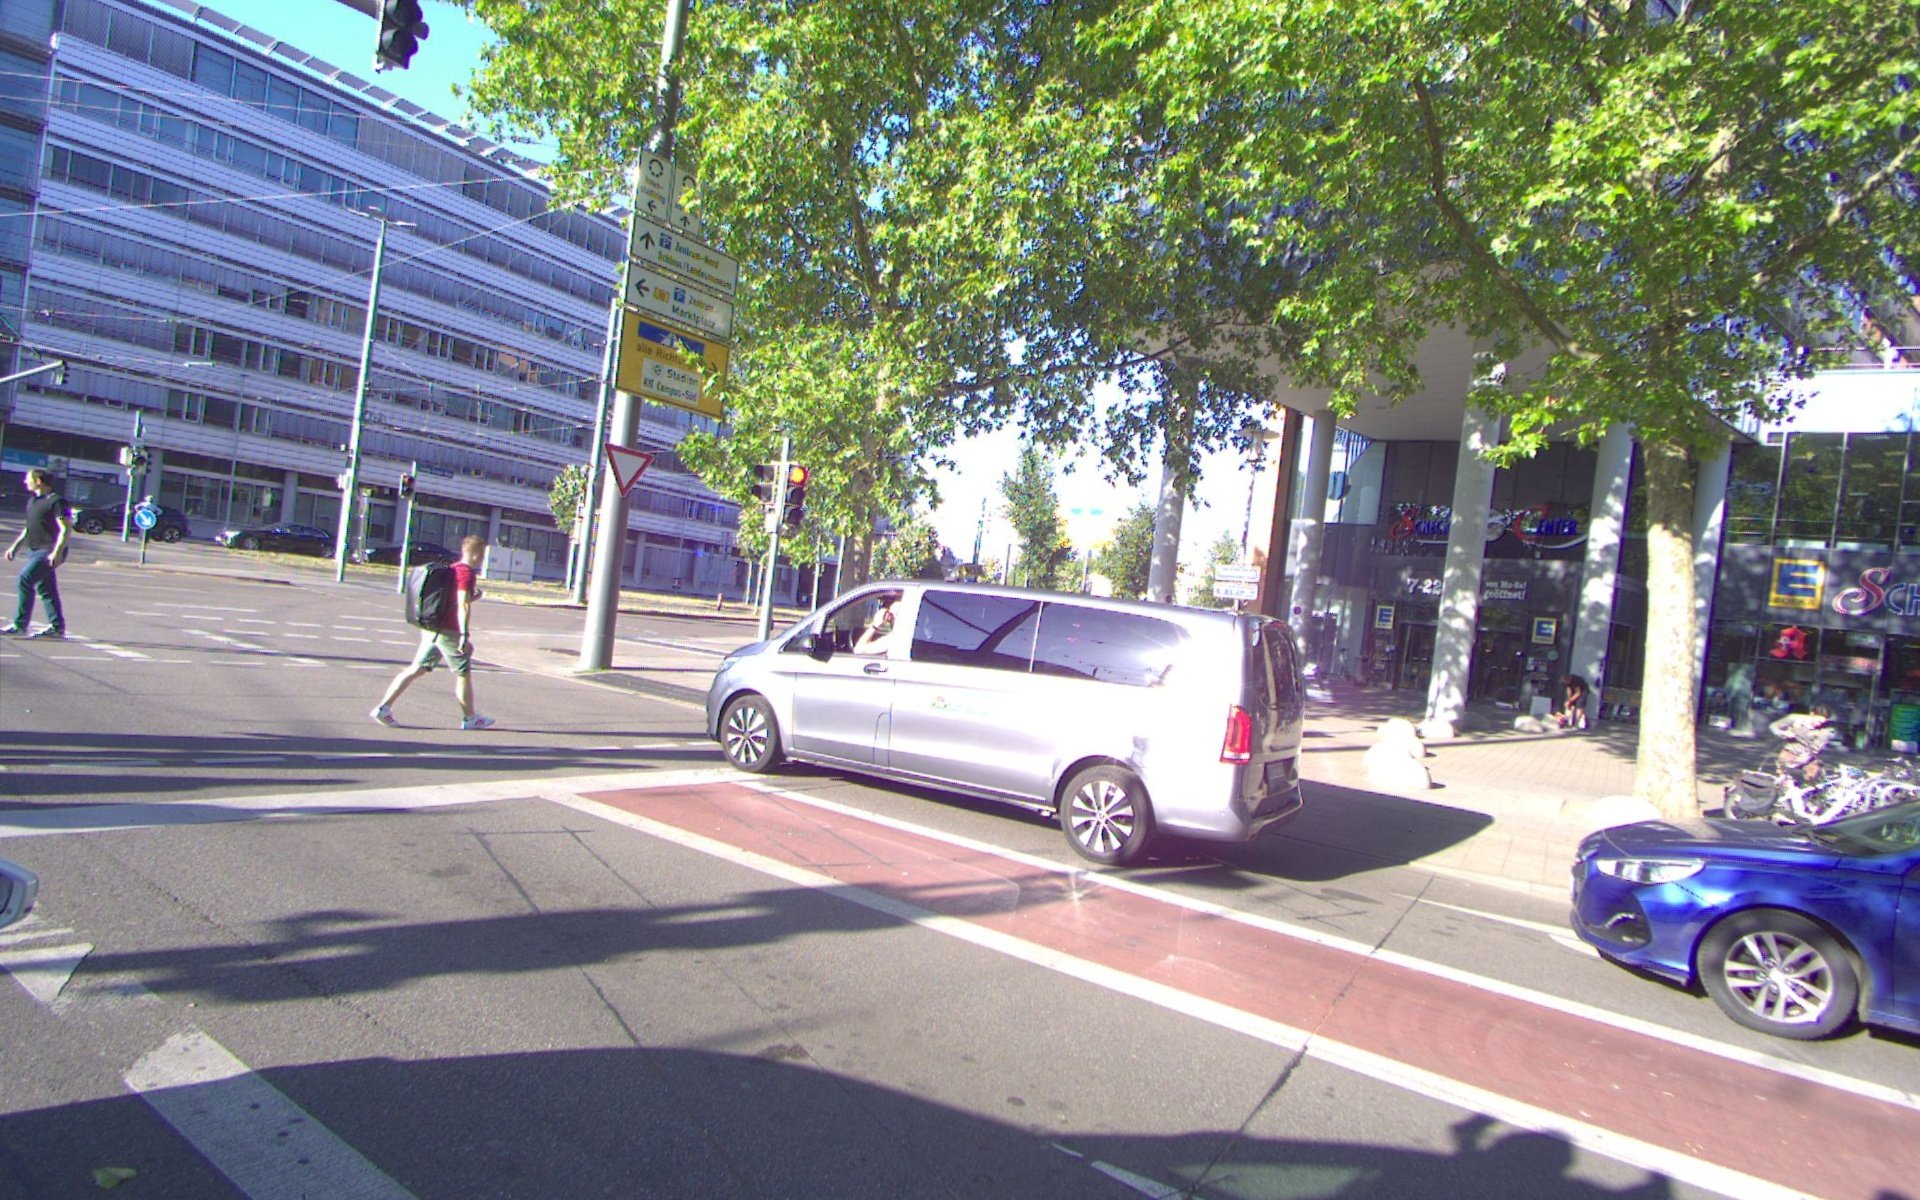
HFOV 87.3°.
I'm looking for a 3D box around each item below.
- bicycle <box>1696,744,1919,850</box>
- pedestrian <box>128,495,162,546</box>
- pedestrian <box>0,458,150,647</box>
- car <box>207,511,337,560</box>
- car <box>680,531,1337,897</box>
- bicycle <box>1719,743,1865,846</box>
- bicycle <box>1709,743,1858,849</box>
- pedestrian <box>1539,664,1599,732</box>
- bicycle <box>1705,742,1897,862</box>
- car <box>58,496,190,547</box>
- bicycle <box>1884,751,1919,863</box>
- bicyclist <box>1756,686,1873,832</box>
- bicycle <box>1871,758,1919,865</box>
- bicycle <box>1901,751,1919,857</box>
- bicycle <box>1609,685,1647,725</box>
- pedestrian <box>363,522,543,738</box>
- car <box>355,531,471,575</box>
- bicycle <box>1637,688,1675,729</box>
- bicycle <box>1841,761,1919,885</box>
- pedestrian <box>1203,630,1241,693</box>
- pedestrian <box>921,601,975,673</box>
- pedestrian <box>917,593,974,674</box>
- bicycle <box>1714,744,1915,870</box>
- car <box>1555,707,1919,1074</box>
[{"bbox_3d":[11.466,2.637,13.699,0.661,0.945,2.167,7,0,-30],"label":"bicycle"},{"bbox_3d":[-29.436,-2.867,36.337,0.549,1.701,0.719,7,-1,39],"label":"pedestrian"},{"bbox_3d":[-9.891,-0.503,10.930,1.023,1.843,1.212,7,-1,26],"label":"pedestrian"},{"bbox_3d":[-29.917,-2.779,43.849,1.768,1.452,4.241,7,0,36],"label":"car"},{"bbox_3d":[0.255,0.729,8.532,5.052,1.988,1.997,7,-2,32],"label":"car"},{"bbox_3d":[10.679,2.470,12.944,0.393,1.038,1.305,6,1,-42],"label":"bicycle"},{"bbox_3d":[10.293,2.422,12.603,0.393,1.038,1.305,6,1,-42],"label":"bicycle"},{"bbox_3d":[16.560,2.659,27.352,0.956,1.661,0.860,7,1,-27],"label":"pedestrian"},{"bbox_3d":[9.707,2.314,11.682,1.545,1.038,0.461,7,1,29],"label":"bicycle"},{"bbox_3d":[-35.142,-3.274,42.389,1.766,1.525,3.863,7,0,33],"label":"car"},{"bbox_3d":[11.180,2.375,10.979,1.452,1.174,0.421,7,1,30],"label":"bicycle"},{"bbox_3d":[11.564,2.139,13.626,0.744,1.790,0.845,6,1,-31],"label":"bicyclist"},{"bbox_3d":[11.679,2.565,11.697,1.452,1.174,0.421,7,1,33],"label":"bicycle"},{"bbox_3d":[10.909,2.262,10.476,1.452,1.095,0.421,7,1,30],"label":"bicycle"},{"bbox_3d":[21.059,3.312,31.708,0.709,1.142,1.912,7,0,39],"label":"bicycle"},{"bbox_3d":[-4.419,0.277,8.821,0.617,1.735,1.076,7,-1,28],"label":"pedestrian"},{"bbox_3d":[-25.039,-2.118,46.197,1.768,1.409,4.241,7,0,36],"label":"car"},{"bbox_3d":[21.587,3.357,31.193,0.709,1.142,1.912,7,0,39],"label":"bicycle"},{"bbox_3d":[9.663,2.251,9.748,1.548,1.070,0.627,7,1,38],"label":"bicycle"},{"bbox_3d":[7.286,1.710,27.972,0.694,1.662,0.775,7,1,27],"label":"pedestrian"},{"bbox_3d":[-0.299,0.956,25.906,0.855,1.701,0.845,7,-1,39],"label":"pedestrian"},{"bbox_3d":[-0.346,0.822,24.794,0.855,1.841,0.845,7,-1,39],"label":"pedestrian"},{"bbox_3d":[9.480,2.274,11.227,1.545,1.038,0.461,7,1,29],"label":"bicycle"},{"bbox_3d":[5.576,1.634,5.211,4.147,1.482,1.767,7,0,32],"label":"car"}]
